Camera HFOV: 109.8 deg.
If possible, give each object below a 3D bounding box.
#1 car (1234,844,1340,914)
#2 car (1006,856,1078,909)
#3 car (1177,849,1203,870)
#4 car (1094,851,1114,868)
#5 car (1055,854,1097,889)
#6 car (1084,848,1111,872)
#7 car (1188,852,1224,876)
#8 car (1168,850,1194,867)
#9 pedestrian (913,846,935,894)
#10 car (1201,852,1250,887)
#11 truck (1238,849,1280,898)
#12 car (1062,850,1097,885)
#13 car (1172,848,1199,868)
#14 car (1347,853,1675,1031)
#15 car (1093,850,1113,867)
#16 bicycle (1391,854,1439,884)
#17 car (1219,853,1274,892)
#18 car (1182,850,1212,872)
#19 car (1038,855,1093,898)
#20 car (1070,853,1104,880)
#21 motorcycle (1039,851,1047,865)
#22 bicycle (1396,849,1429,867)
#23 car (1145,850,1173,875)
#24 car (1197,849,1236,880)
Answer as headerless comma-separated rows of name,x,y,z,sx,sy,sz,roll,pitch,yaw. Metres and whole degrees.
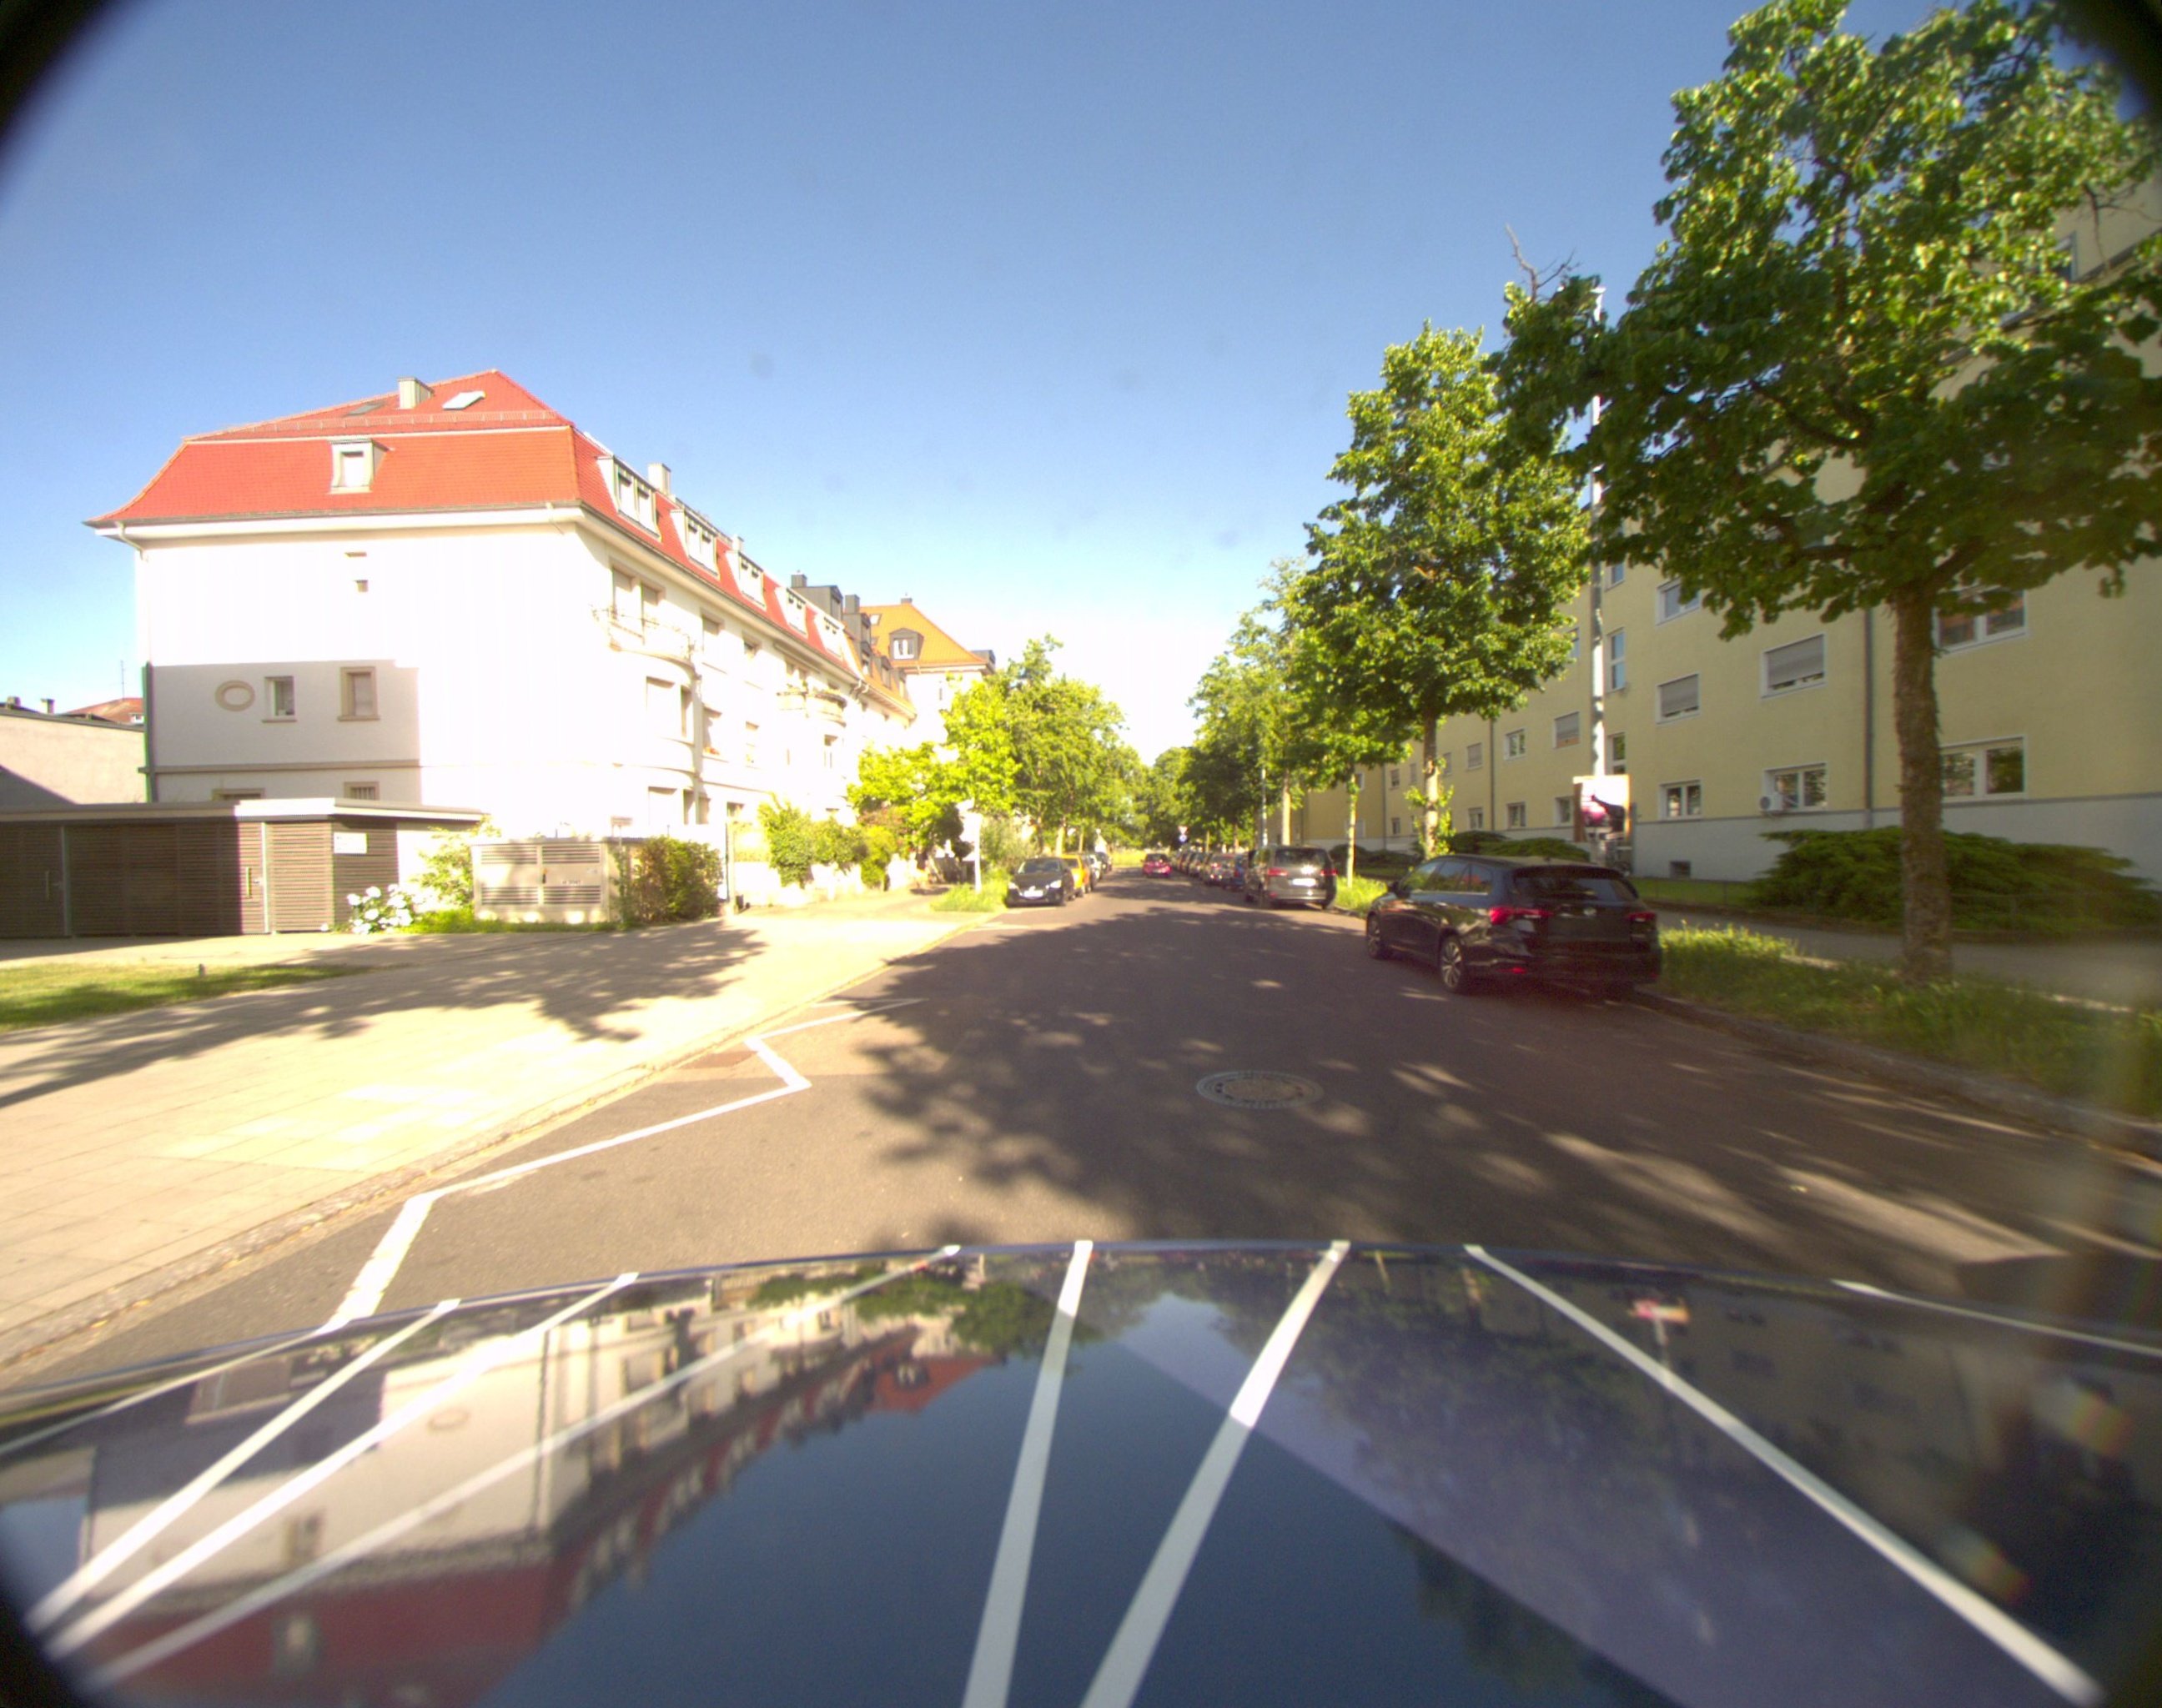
car,5.574,0.609,21.221,1.853,1.671,4.977,2,1,4
car,-1.122,0.809,23.544,1.704,1.440,4.083,0,0,5
car,8.064,0.389,56.572,1.668,1.477,3.257,-1,0,4
car,1.899,0.449,63.788,1.615,1.401,4.351,-1,0,0
car,-0.153,0.735,33.129,1.653,1.420,3.612,0,0,2
car,1.249,0.403,56.712,1.785,1.688,4.298,0,0,4
car,7.549,0.542,46.205,1.749,1.361,4.675,0,1,4
car,8.868,0.337,67.550,1.764,1.434,3.994,-1,0,1
pedestrian,-5.804,0.569,28.126,0.623,1.765,0.800,0,1,4
car,6.528,0.636,34.693,1.795,1.436,4.689,1,1,6
truck,6.022,0.620,25.834,1.086,1.568,2.433,-1,1,6
car,-0.023,0.618,38.252,1.653,1.646,3.847,-1,0,1
car,8.373,0.310,61.146,1.695,1.556,4.736,-1,0,2
car,4.731,0.792,9.293,1.511,1.539,4.779,1,1,4
car,2.042,0.388,68.628,1.656,1.394,4.136,-1,0,3
bicycle,12.479,0.538,28.466,0.487,1.075,1.842,-4,2,-20
car,6.422,0.668,29.843,1.524,1.387,3.727,-1,1,3
car,7.844,0.458,51.676,1.668,1.450,3.933,-1,0,4
car,-0.497,0.767,28.077,1.640,1.446,4.100,-1,0,4
car,0.407,0.674,42.880,1.633,1.417,4.369,0,1,4
motorcycle,-3.559,0.391,71.037,0.658,1.272,1.799,1,1,-2
bicycle,18.299,0.221,41.910,1.637,0.925,0.481,-1,1,-4
car,4.626,0.463,45.226,1.509,1.418,3.178,0,0,3
car,7.123,0.526,40.280,1.624,1.507,4.270,1,1,5
